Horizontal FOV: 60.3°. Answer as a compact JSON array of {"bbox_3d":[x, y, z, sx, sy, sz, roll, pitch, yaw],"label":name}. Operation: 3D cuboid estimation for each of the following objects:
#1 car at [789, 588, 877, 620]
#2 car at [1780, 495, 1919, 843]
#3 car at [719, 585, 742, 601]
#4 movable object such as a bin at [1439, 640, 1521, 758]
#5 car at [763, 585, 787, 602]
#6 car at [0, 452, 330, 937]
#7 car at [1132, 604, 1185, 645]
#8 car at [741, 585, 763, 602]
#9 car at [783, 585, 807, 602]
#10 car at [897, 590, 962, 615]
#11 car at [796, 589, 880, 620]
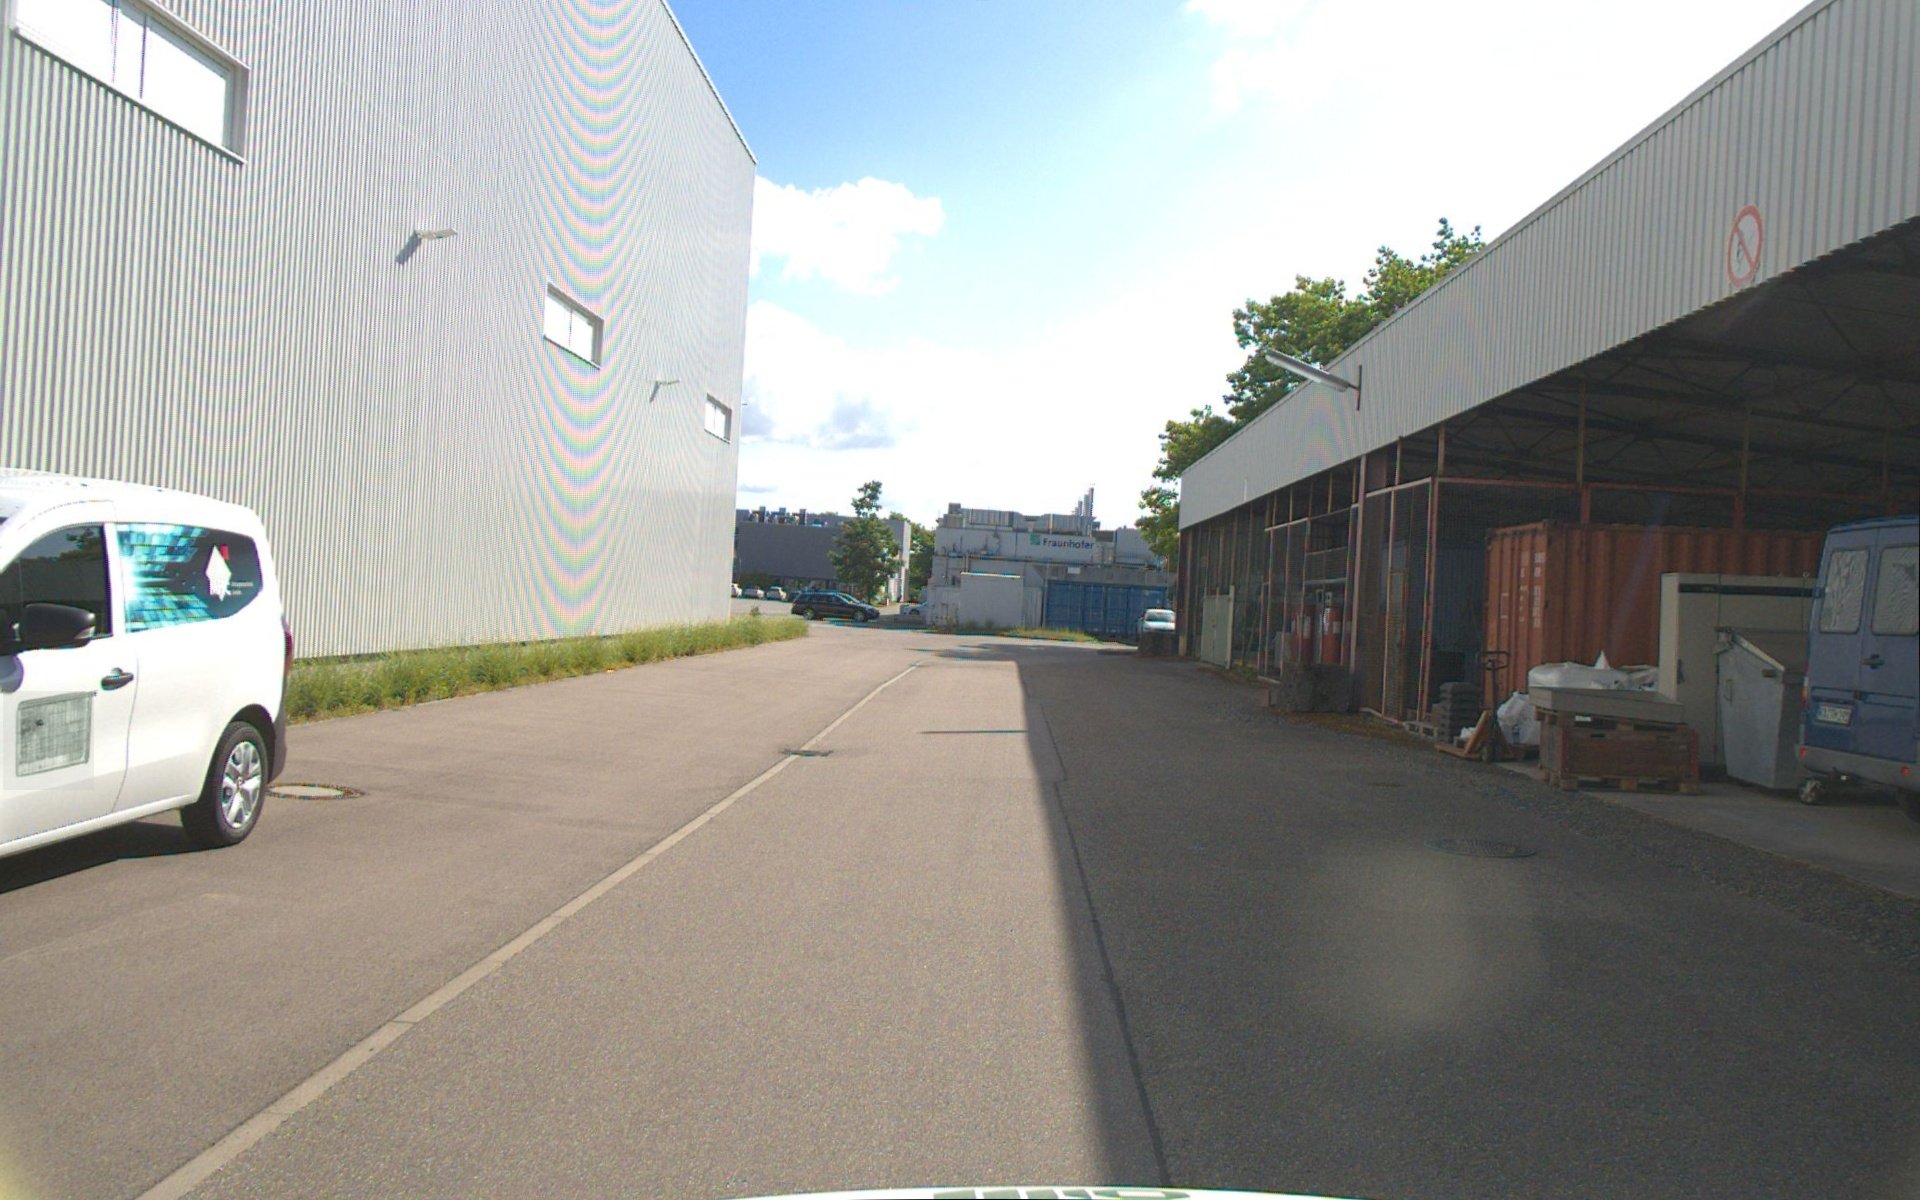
[{"bbox_3d":[-6.848,0.219,89.388,4.431,1.534,1.909,2,0,3],"label":"car"},{"bbox_3d":[8.989,0.572,12.128,4.876,2.366,2.000,3,0,1],"label":"car"},{"bbox_3d":[-25.882,-0.799,186.908,1.952,1.766,4.000,1,0,1],"label":"car"},{"bbox_3d":[5.605,1.049,17.868,0.569,1.185,1.239,2,0,5],"label":"movable object such as a bin"},{"bbox_3d":[-20.905,-0.720,186.810,2.148,1.766,4.000,1,0,1],"label":"car"},{"bbox_3d":[-4.582,0.298,7.140,1.852,1.877,4.359,5,0,1],"label":"car"},{"bbox_3d":[9.137,1.101,76.334,1.953,1.613,4.173,3,2,1],"label":"car"},{"bbox_3d":[-23.445,-0.747,186.513,1.952,1.766,4.000,1,0,1],"label":"car"},{"bbox_3d":[-18.440,-0.708,185.055,2.148,1.766,4.000,1,0,1],"label":"car"},{"bbox_3d":[-2.136,0.180,116.911,4.432,1.534,1.909,3,0,2],"label":"car"},{"bbox_3d":[-6.806,0.241,92.626,4.431,1.534,1.909,2,0,3],"label":"car"}]
